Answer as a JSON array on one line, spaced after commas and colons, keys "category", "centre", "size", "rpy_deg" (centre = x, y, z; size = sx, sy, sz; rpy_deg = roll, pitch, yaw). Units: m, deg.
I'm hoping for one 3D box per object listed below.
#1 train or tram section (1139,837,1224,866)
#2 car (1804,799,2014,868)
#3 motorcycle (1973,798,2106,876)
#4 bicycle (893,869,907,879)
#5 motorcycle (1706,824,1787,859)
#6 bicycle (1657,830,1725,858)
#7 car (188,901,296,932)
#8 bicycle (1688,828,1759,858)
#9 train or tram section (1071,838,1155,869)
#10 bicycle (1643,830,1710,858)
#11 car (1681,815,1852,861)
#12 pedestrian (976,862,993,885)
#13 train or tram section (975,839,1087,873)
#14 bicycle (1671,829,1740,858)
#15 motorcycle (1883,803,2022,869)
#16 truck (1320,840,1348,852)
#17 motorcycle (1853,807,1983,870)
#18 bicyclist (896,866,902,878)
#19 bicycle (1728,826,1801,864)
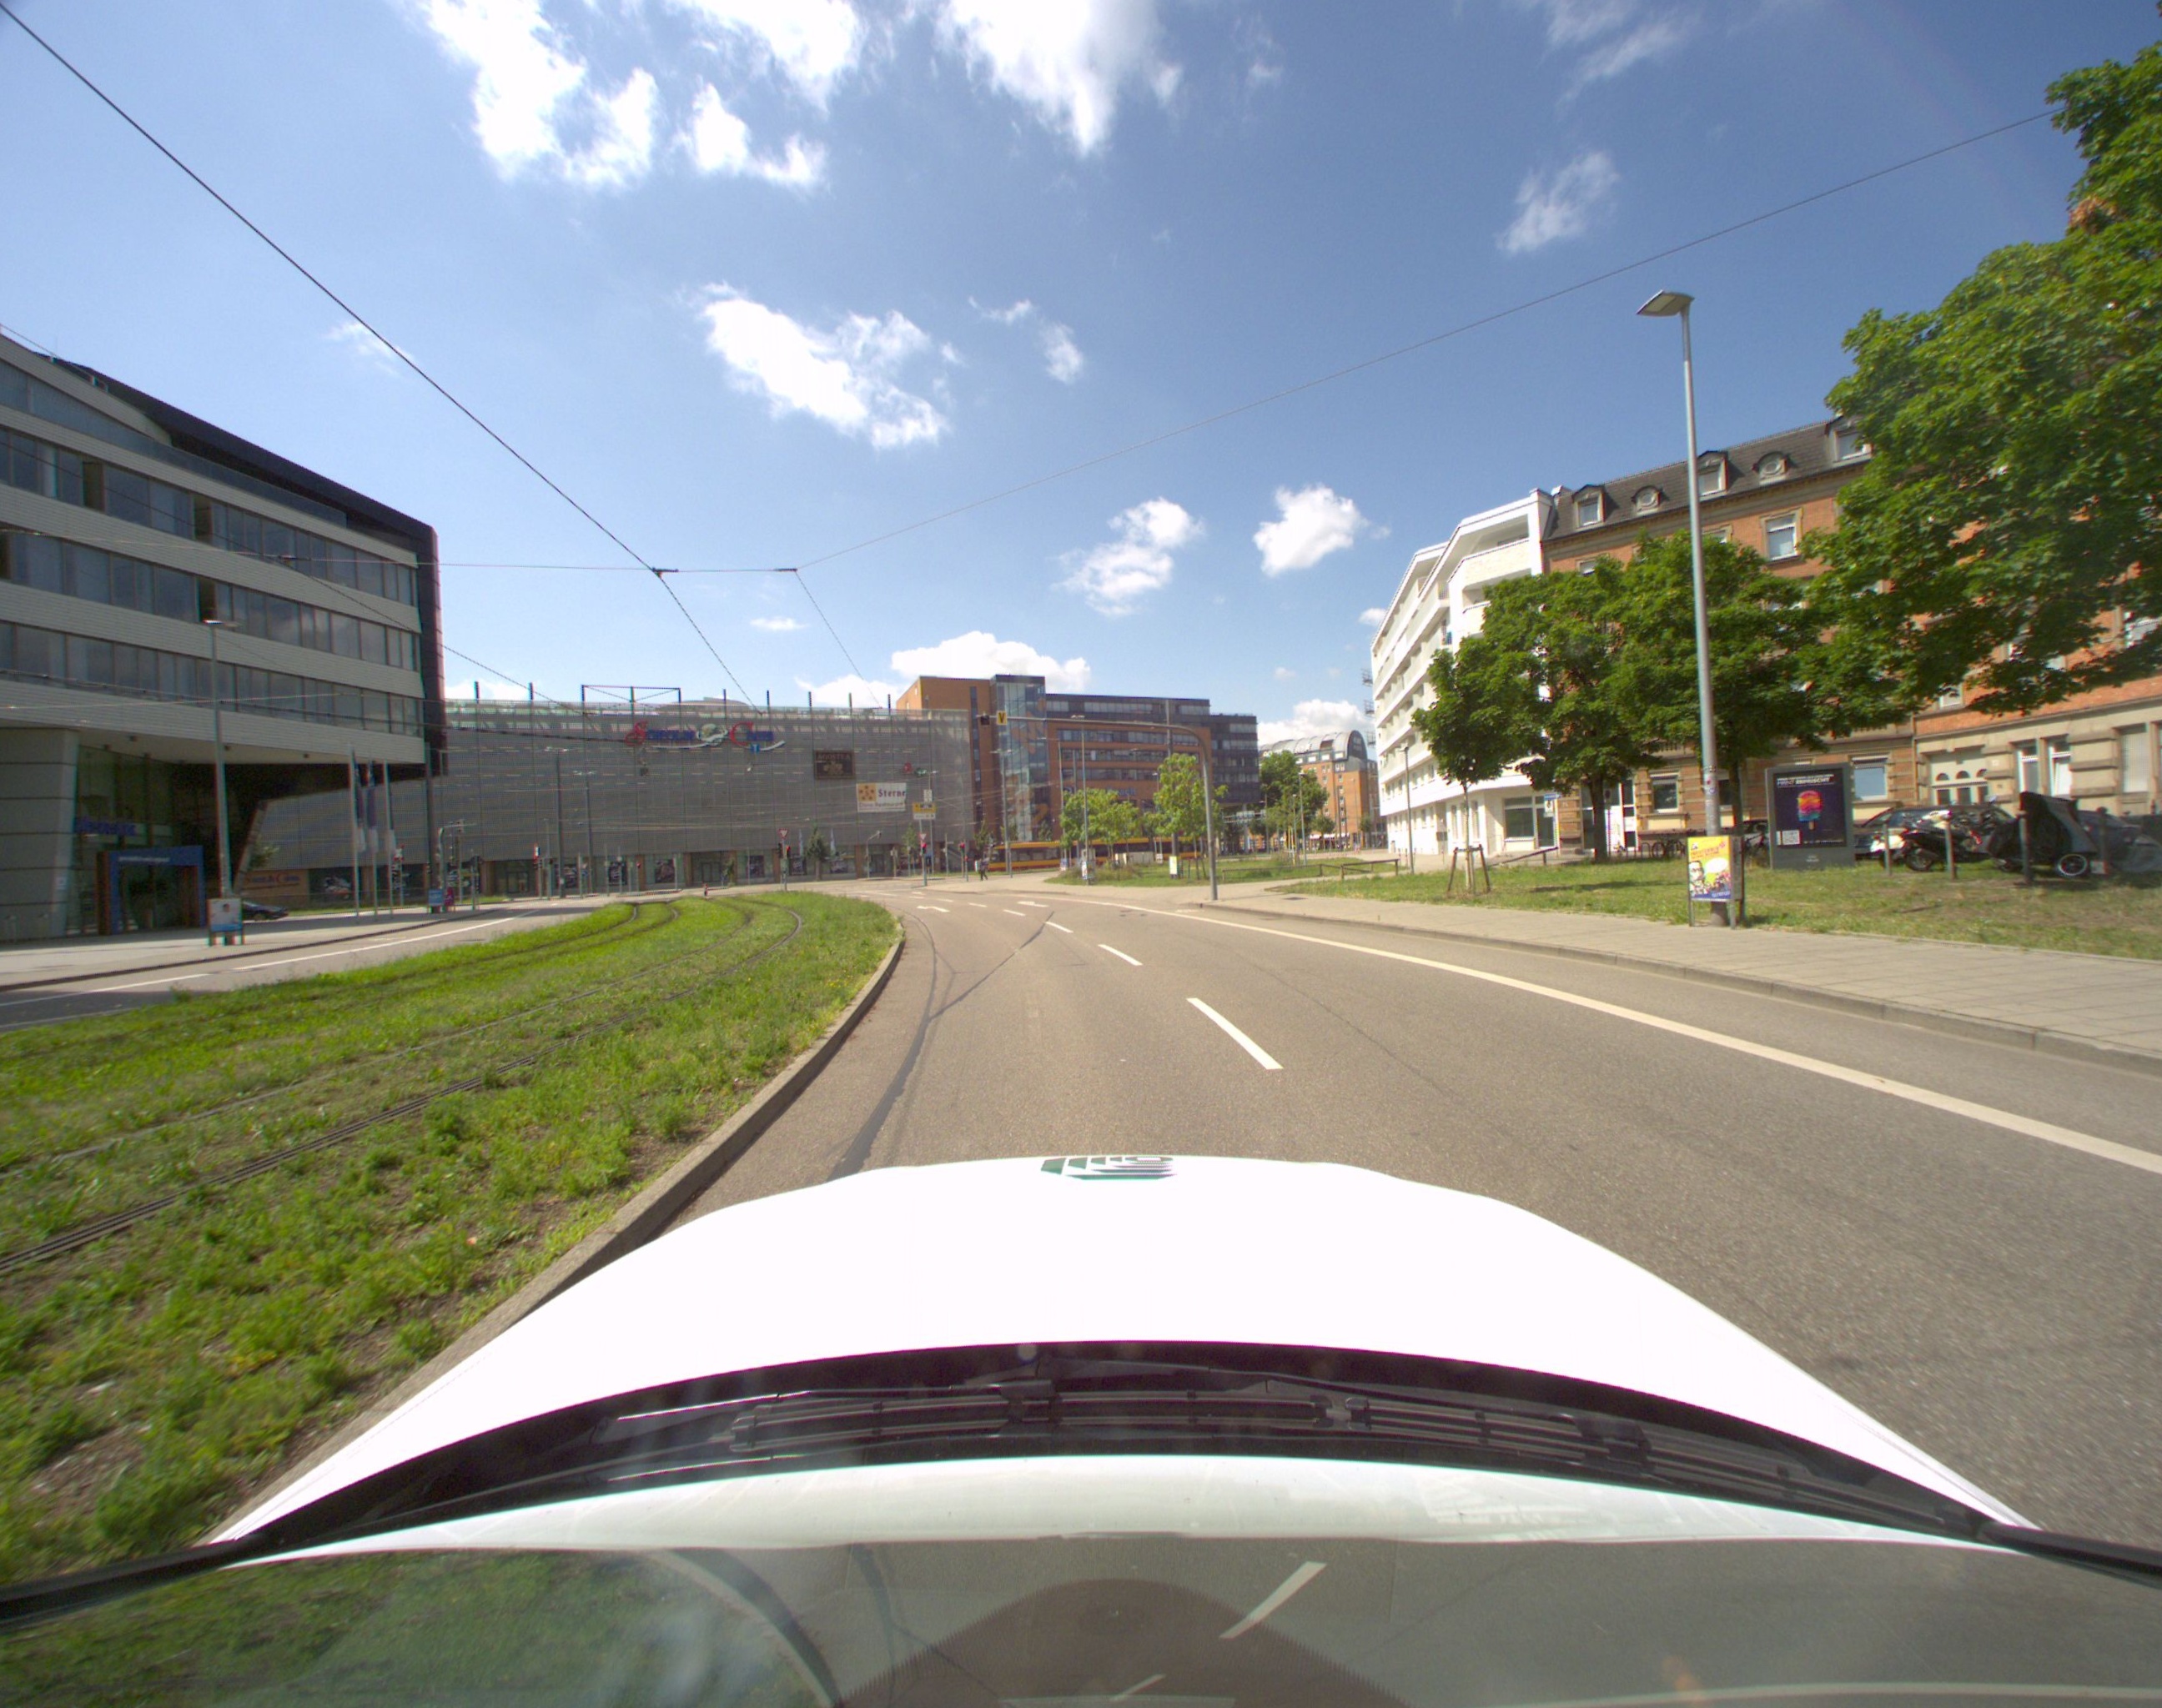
[{"category": "train or tram section", "centre": [13.775, -0.340, 110.733], "size": [12.692, 3.621, 3.031], "rpy_deg": [-2, -1, -36]}, {"category": "car", "centre": [20.188, -0.491, 19.878], "size": [4.256, 1.427, 1.795], "rpy_deg": [-3, 0, -17]}, {"category": "motorcycle", "centre": [15.718, -0.272, 13.420], "size": [0.632, 1.167, 1.918], "rpy_deg": [-3, -1, 25]}, {"category": "bicycle", "centre": [-24.381, 2.668, 109.891], "size": [1.768, 1.224, 0.580], "rpy_deg": [-2, -1, -24]}, {"category": "motorcycle", "centre": [22.748, -0.421, 27.848], "size": [2.385, 1.125, 0.809], "rpy_deg": [-2, -1, -11]}, {"category": "bicycle", "centre": [22.560, -0.373, 30.126], "size": [2.385, 0.969, 0.542], "rpy_deg": [-2, -1, -11]}, {"category": "car", "centre": [-51.011, 3.789, 49.606], "size": [4.117, 1.469, 1.813], "rpy_deg": [-3, 0, -24]}, {"category": "bicycle", "centre": [22.775, -0.386, 28.865], "size": [2.385, 0.956, 0.542], "rpy_deg": [-2, -1, -11]}, {"category": "train or tram section", "centre": [4.189, -0.106, 103.568], "size": [11.041, 3.603, 3.031], "rpy_deg": [-2, -1, -36]}, {"category": "bicycle", "centre": [22.450, -0.364, 30.686], "size": [2.385, 0.969, 0.542], "rpy_deg": [-2, -1, -11]}, {"category": "car", "centre": [21.171, -0.471, 25.209], "size": [4.154, 1.244, 1.856], "rpy_deg": [-2, -1, -12]}, {"category": "pedestrian", "centre": [-7.576, 1.554, 64.183], "size": [0.907, 1.702, 0.814], "rpy_deg": [-4, -1, 37]}, {"category": "train or tram section", "centre": [-5.757, 0.165, 96.401], "size": [13.557, 3.599, 3.192], "rpy_deg": [-2, -1, -35]}, {"category": "bicycle", "centre": [22.658, -0.378, 29.549], "size": [2.385, 0.969, 0.542], "rpy_deg": [-2, -1, -11]}, {"category": "motorcycle", "centre": [16.948, -0.337, 15.872], "size": [1.771, 1.167, 0.642], "rpy_deg": [-3, -1, 11]}, {"category": "truck", "centre": [51.442, -1.610, 165.536], "size": [2.007, 2.086, 5.468], "rpy_deg": [-1, -1, -31]}, {"category": "motorcycle", "centre": [17.131, -0.315, 16.703], "size": [1.771, 1.167, 0.642], "rpy_deg": [-3, -1, 11]}, {"category": "bicyclist", "centre": [-24.489, 2.469, 109.851], "size": [0.665, 1.623, 0.546], "rpy_deg": [-2, -1, -24]}, {"category": "bicycle", "centre": [17.296, -0.204, 20.647], "size": [0.539, 0.901, 1.826], "rpy_deg": [-2, -1, 9]}]
